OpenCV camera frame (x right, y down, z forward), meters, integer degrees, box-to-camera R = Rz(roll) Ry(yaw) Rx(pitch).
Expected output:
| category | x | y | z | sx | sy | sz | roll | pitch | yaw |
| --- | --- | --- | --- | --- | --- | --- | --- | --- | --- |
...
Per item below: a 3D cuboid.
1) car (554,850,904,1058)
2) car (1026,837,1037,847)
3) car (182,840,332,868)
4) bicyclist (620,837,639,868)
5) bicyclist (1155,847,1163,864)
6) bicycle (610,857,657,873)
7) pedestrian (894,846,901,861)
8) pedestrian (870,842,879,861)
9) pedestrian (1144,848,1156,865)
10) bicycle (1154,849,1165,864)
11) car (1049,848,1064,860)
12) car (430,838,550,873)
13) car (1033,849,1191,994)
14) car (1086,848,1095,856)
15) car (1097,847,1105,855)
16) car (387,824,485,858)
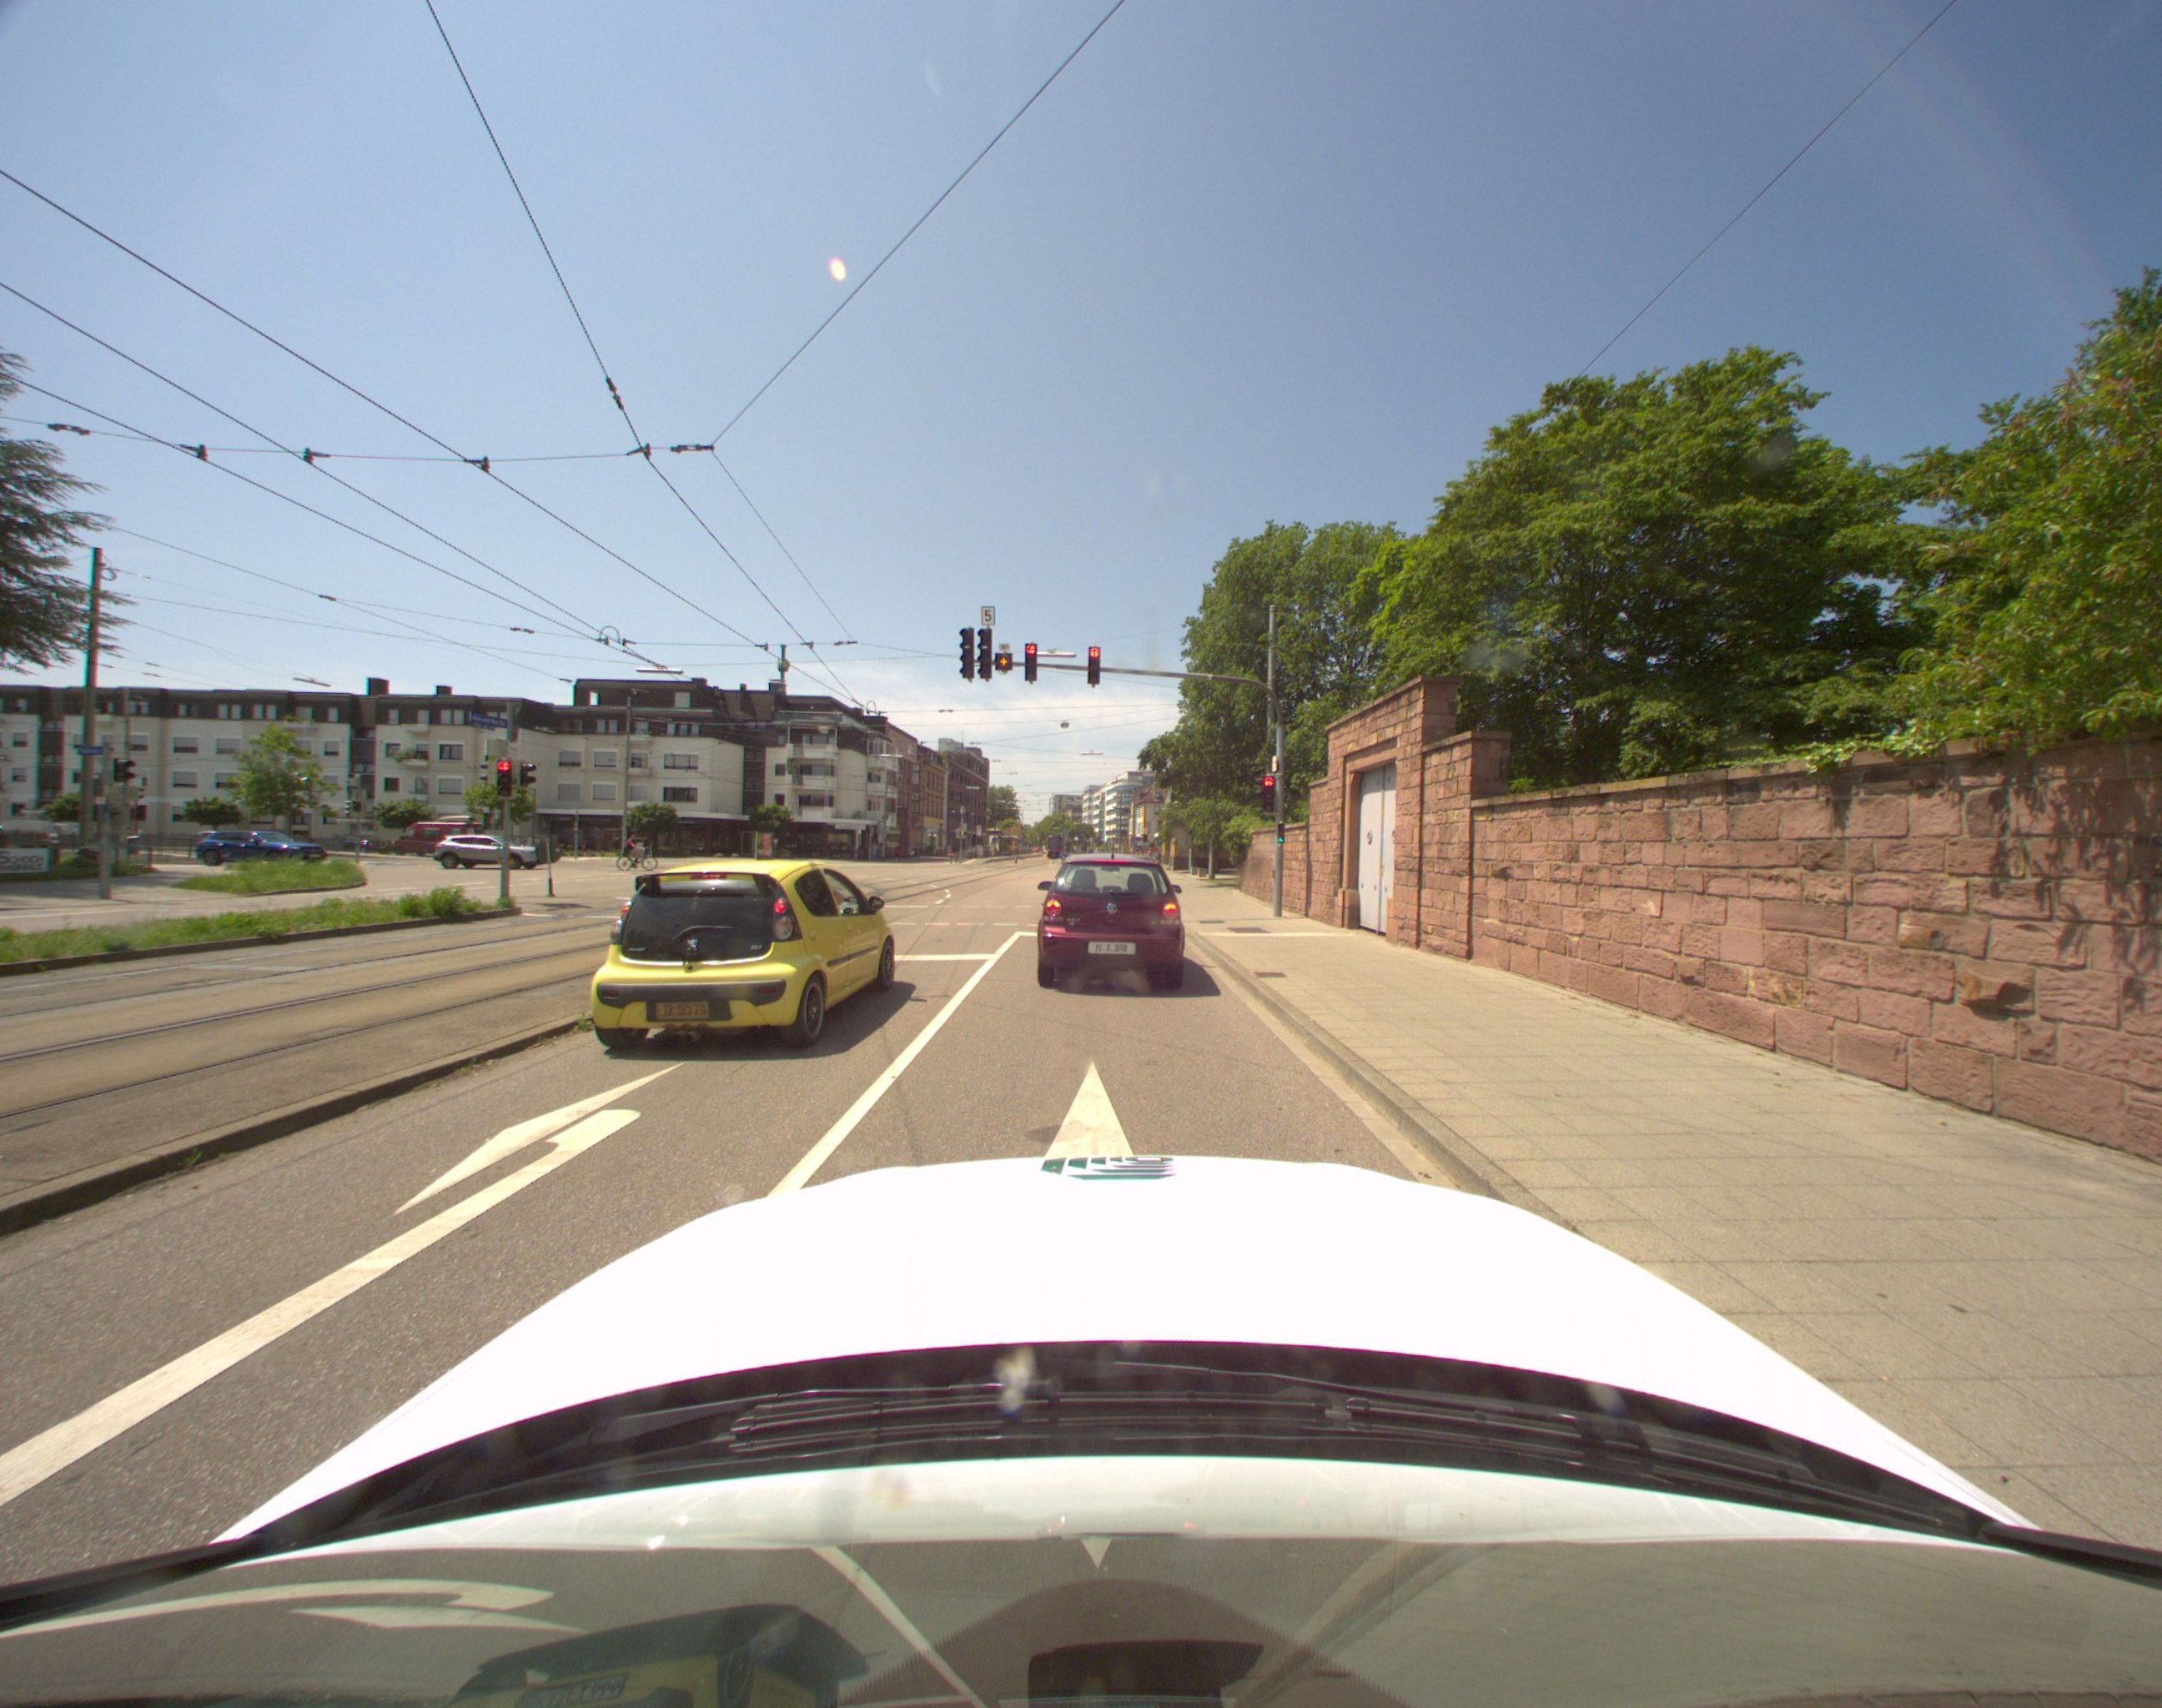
| category | x | y | z | sx | sy | sz | roll | pitch | yaw |
| --- | --- | --- | --- | --- | --- | --- | --- | --- | --- |
| car | -2.891 | 0.712 | 7.515 | 1.717 | 1.445 | 3.293 | -1 | 1 | 1 |
| car | -9.499 | -2.307 | 156.941 | 1.728 | 2.013 | 4.002 | 1 | 0 | 2 |
| car | -37.791 | -0.009 | 37.440 | 4.757 | 1.237 | 1.938 | 0 | -1 | -2 |
| bicyclist | -22.366 | -0.069 | 40.329 | 0.752 | 1.501 | 0.479 | 0 | -1 | -20 |
| bicyclist | 8.019 | 0.158 | 83.996 | 0.719 | 1.818 | 0.889 | 0 | -1 | 1 |
| bicycle | -22.158 | 0.545 | 40.387 | 1.987 | 0.783 | 0.463 | 0 | -1 | -20 |
| pedestrian | -18.170 | -0.040 | 80.562 | 0.481 | 1.541 | 0.539 | 0 | -1 | 6 |
| pedestrian | -19.536 | -0.220 | 77.024 | 0.614 | 1.754 | 0.499 | 1 | -1 | -43 |
| pedestrian | 6.636 | 0.227 | 78.330 | 0.981 | 1.661 | 0.916 | 1 | 0 | -9 |
| bicycle | 8.020 | 0.297 | 83.375 | 0.831 | 1.525 | 4.001 | 0 | -1 | 2 |
| car | -3.575 | 0.023 | 119.461 | 1.931 | 1.641 | 4.001 | 0 | -1 | 1 |
| car | -27.878 | 0.064 | 38.563 | 4.149 | 1.584 | 1.928 | 0 | -1 | -18 |
| car | 0.356 | 0.683 | 10.437 | 1.604 | 1.463 | 4.086 | 1 | 0 | 1 |
| car | 2.047 | -0.447 | 179.028 | 1.774 | 1.623 | 3.999 | 0 | -1 | 0 |
| car | 3.809 | -0.585 | 156.993 | 1.567 | 1.415 | 3.721 | -1 | 0 | 1 |
| car | -45.375 | -0.888 | 57.394 | 5.048 | 2.341 | 2.244 | 0 | -1 | 0 |
